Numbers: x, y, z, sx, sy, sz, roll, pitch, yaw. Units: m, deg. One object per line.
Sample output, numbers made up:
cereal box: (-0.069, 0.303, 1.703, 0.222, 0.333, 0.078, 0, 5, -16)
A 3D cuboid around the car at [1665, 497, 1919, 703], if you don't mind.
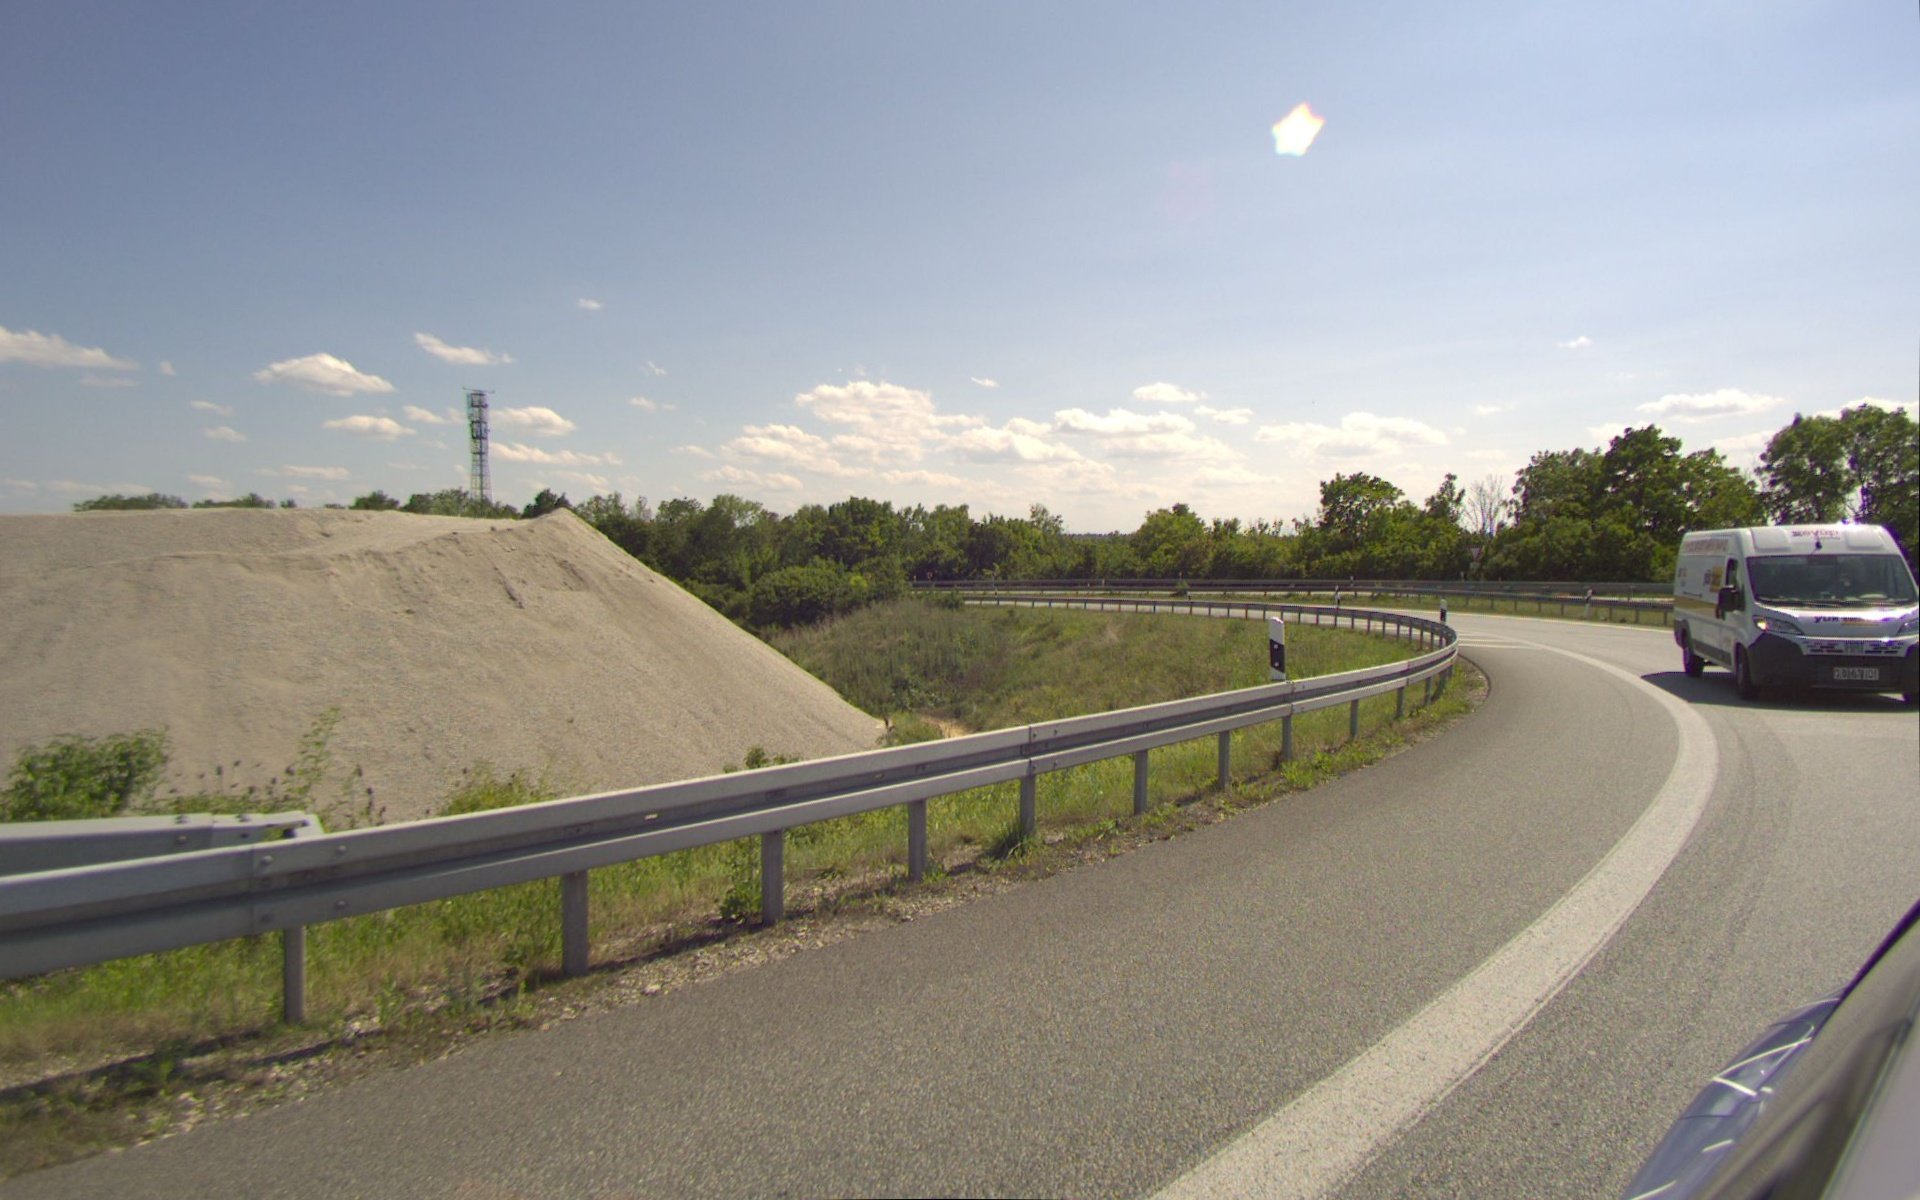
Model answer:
car: (12.835, -0.091, 15.656, 2.067, 2.555, 6.183, -4, 0, 26)
